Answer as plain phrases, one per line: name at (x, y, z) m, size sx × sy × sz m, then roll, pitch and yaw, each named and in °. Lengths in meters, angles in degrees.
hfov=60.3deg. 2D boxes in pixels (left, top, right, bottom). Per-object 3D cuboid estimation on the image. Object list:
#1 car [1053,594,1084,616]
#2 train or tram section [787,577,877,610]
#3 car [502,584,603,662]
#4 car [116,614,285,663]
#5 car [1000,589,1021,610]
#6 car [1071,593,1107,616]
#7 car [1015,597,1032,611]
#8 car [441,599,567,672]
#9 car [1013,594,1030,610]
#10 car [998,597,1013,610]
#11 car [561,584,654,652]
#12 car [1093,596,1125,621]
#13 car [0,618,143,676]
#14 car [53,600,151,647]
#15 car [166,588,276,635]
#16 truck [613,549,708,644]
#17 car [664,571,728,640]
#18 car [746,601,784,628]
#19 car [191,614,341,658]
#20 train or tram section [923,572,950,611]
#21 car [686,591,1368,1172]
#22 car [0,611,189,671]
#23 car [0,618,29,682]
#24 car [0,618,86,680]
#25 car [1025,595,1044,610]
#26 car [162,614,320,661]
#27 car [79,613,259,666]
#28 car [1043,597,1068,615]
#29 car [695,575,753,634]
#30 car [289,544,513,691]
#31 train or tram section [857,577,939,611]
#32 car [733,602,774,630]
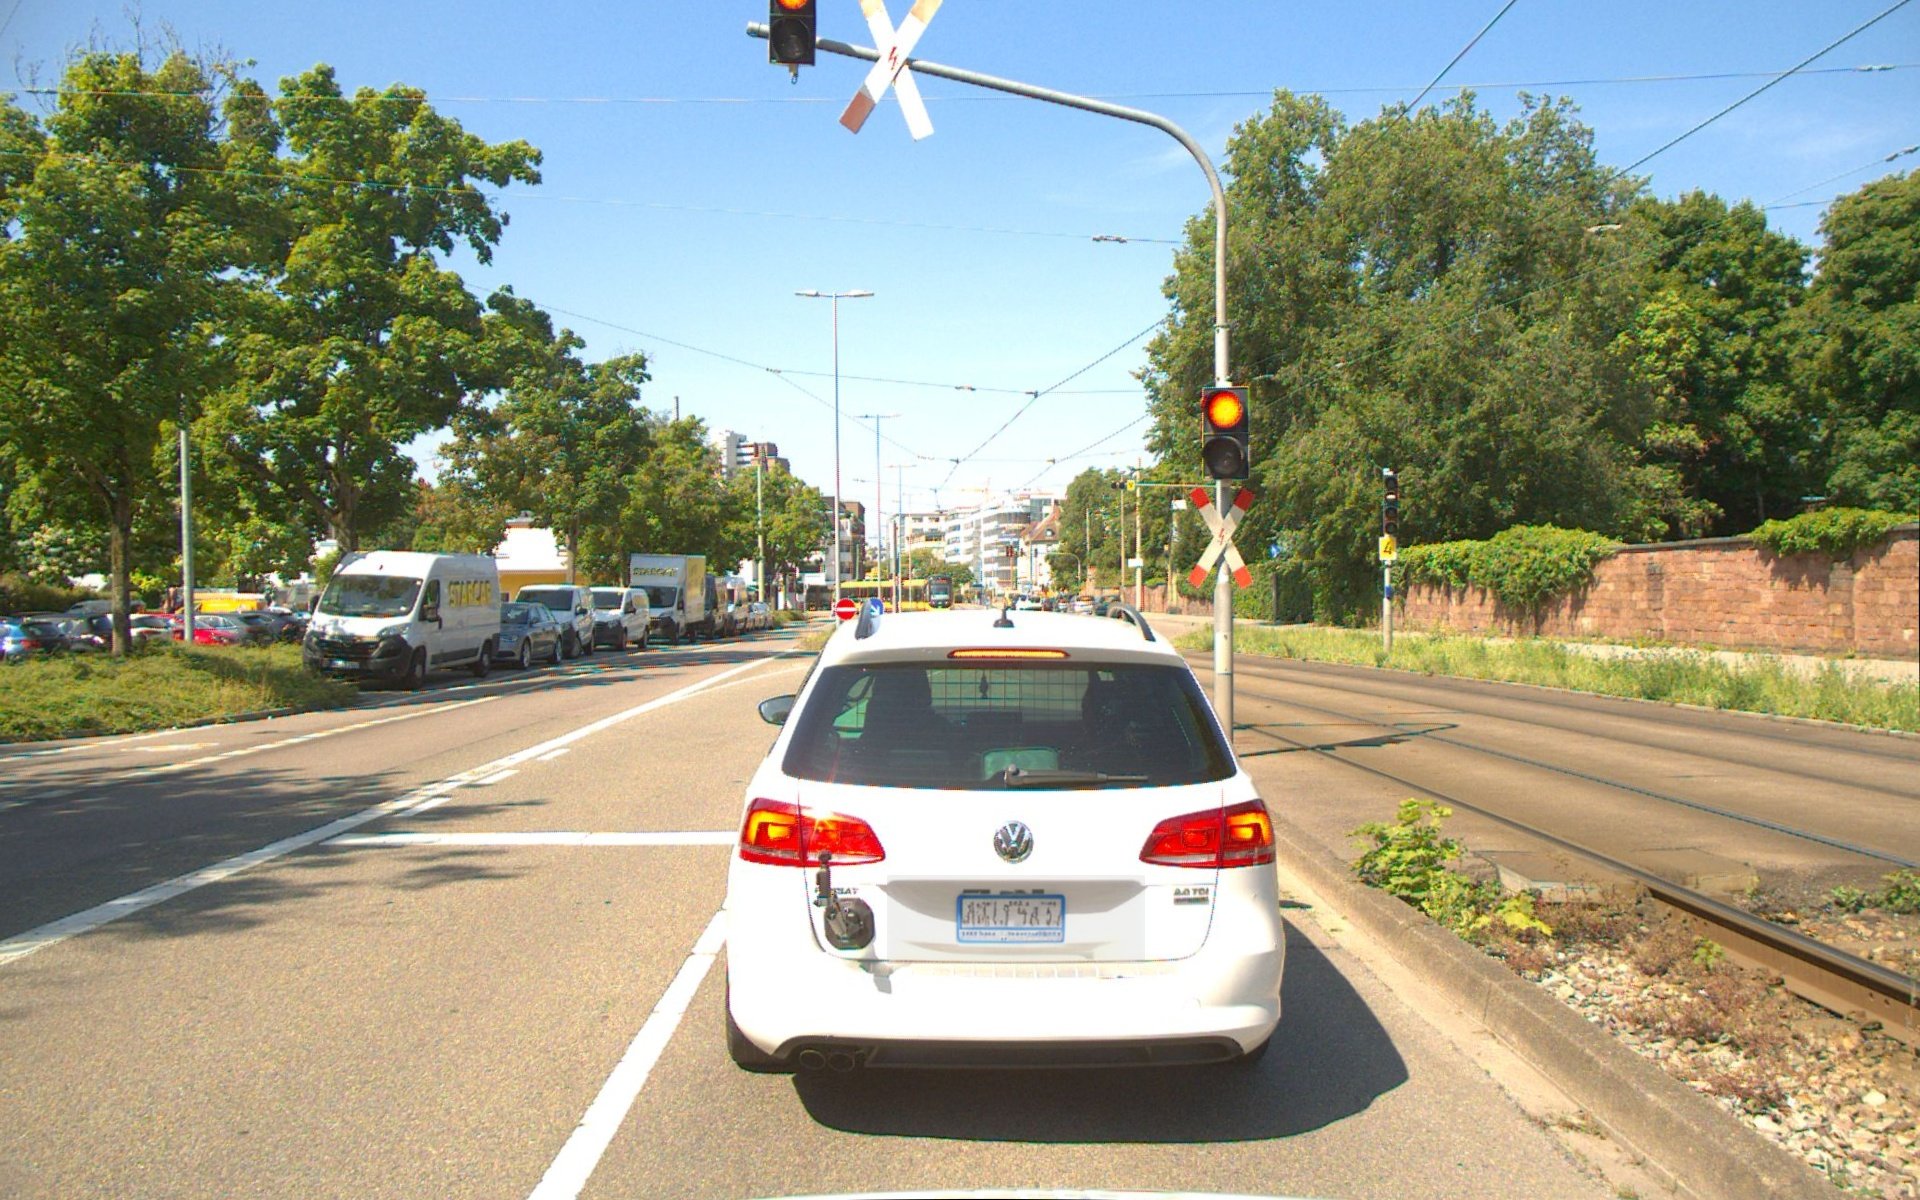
car at (7.987, 0.335, 122.074) m, size 1.824 × 1.539 × 3.911 m, roll 1°, pitch 0°, yaw -2°
train or tram section at (-13.602, -0.690, 174.406) m, size 10.596 × 3.310 × 2.299 m, roll 1°, pitch -1°, yaw 37°
car at (-11.059, 0.573, 45.190) m, size 1.807 × 1.971 × 5.189 m, roll -1°, pitch 0°, yaw -5°
car at (-21.348, 1.072, 46.576) m, size 3.904 × 1.246 × 1.772 m, roll -1°, pitch 0°, yaw 2°
car at (6.329, -0.069, 208.079) m, size 2.413 × 2.542 × 5.908 m, roll 1°, pitch -1°, yaw -1°
car at (8.382, 0.292, 107.796) m, size 1.824 × 1.441 × 4.323 m, roll 1°, pitch 0°, yaw -2°
car at (6.753, 0.431, 175.751) m, size 1.549 × 1.370 × 3.453 m, roll 1°, pitch -1°, yaw -1°
car at (-10.555, 0.777, 38.574) m, size 1.806 × 1.543 × 4.196 m, roll -1°, pitch 0°, yaw -1°
car at (6.984, 0.227, 188.460) m, size 1.657 × 1.844 × 3.453 m, roll 1°, pitch -1°, yaw -1°
car at (6.174, 0.452, 224.145) m, size 1.953 × 1.624 × 3.999 m, roll 1°, pitch -1°, yaw 0°
car at (-10.949, 0.521, 51.770) m, size 1.806 × 1.995 × 5.133 m, roll -1°, pitch 0°, yaw 0°
car at (8.494, 0.469, 94.488) m, size 1.709 × 1.412 × 3.915 m, roll 1°, pitch 0°, yaw 4°
car at (-21.614, 1.112, 38.878) m, size 3.904 × 1.246 × 1.772 m, roll -1°, pitch 0°, yaw 2°
car at (-36.976, 0.987, 71.357) m, size 3.354 × 1.909 × 1.552 m, roll -1°, pitch 0°, yaw -3°
car at (-34.153, 0.540, 76.493) m, size 4.175 × 2.049 × 1.997 m, roll 1°, pitch -1°, yaw -7°
truck at (-10.792, -0.138, 60.143) m, size 2.309 × 3.177 × 6.889 m, roll -1°, pitch 0°, yaw -2°
car at (-10.811, 0.210, 67.945) m, size 1.806 × 2.715 × 5.003 m, roll -1°, pitch 0°, yaw 0°
car at (-11.335, 0.830, 96.413) m, size 1.744 × 1.458 × 4.037 m, roll -1°, pitch 0°, yaw -1°
car at (-21.569, 1.112, 51.491) m, size 3.904 × 1.246 × 1.772 m, roll -1°, pitch 0°, yaw 2°
train or tram section at (-2.046, -0.681, 147.766) m, size 2.254 × 3.309 × 11.272 m, roll 1°, pitch -1°, yaw 0°
car at (0.123, 0.720, 6.212) m, size 1.732 × 1.471 × 3.912 m, roll 1°, pitch 0°, yaw -2°
car at (-21.745, 1.024, 41.557) m, size 3.904 × 1.373 × 1.772 m, roll -1°, pitch 0°, yaw 2°
car at (-20.960, 1.046, 32.844) m, size 3.907 × 1.246 × 1.770 m, roll -1°, pitch 0°, yaw -3°
car at (-21.283, 1.080, 35.657) m, size 3.904 × 1.246 × 1.772 m, roll -1°, pitch 0°, yaw 2°
car at (7.049, 0.280, 157.331) m, size 1.549 × 1.370 × 3.453 m, roll 1°, pitch -1°, yaw -1°
car at (-21.337, 1.101, 49.172) m, size 3.904 × 1.246 × 1.772 m, roll -1°, pitch 0°, yaw 2°
car at (-20.995, 1.036, 43.986) m, size 3.904 × 1.286 × 1.772 m, roll -1°, pitch 0°, yaw 2°
car at (7.899, 0.518, 137.223) m, size 1.711 × 1.432 × 3.911 m, roll 1°, pitch 0°, yaw -3°
car at (-10.755, 0.176, 75.681) m, size 1.806 × 2.538 × 5.856 m, roll -1°, pitch 0°, yaw 0°
car at (-10.732, 0.293, 32.399) m, size 2.016 × 2.544 × 6.309 m, roll 2°, pitch 0°, yaw 2°
train or tram section at (-6.344, -0.596, 167.252) m, size 2.286 × 3.309 × 10.655 m, roll 2°, pitch -1°, yaw -39°
car at (-11.394, 0.867, 91.377) m, size 1.806 × 1.458 × 4.037 m, roll -1°, pitch 0°, yaw -1°
